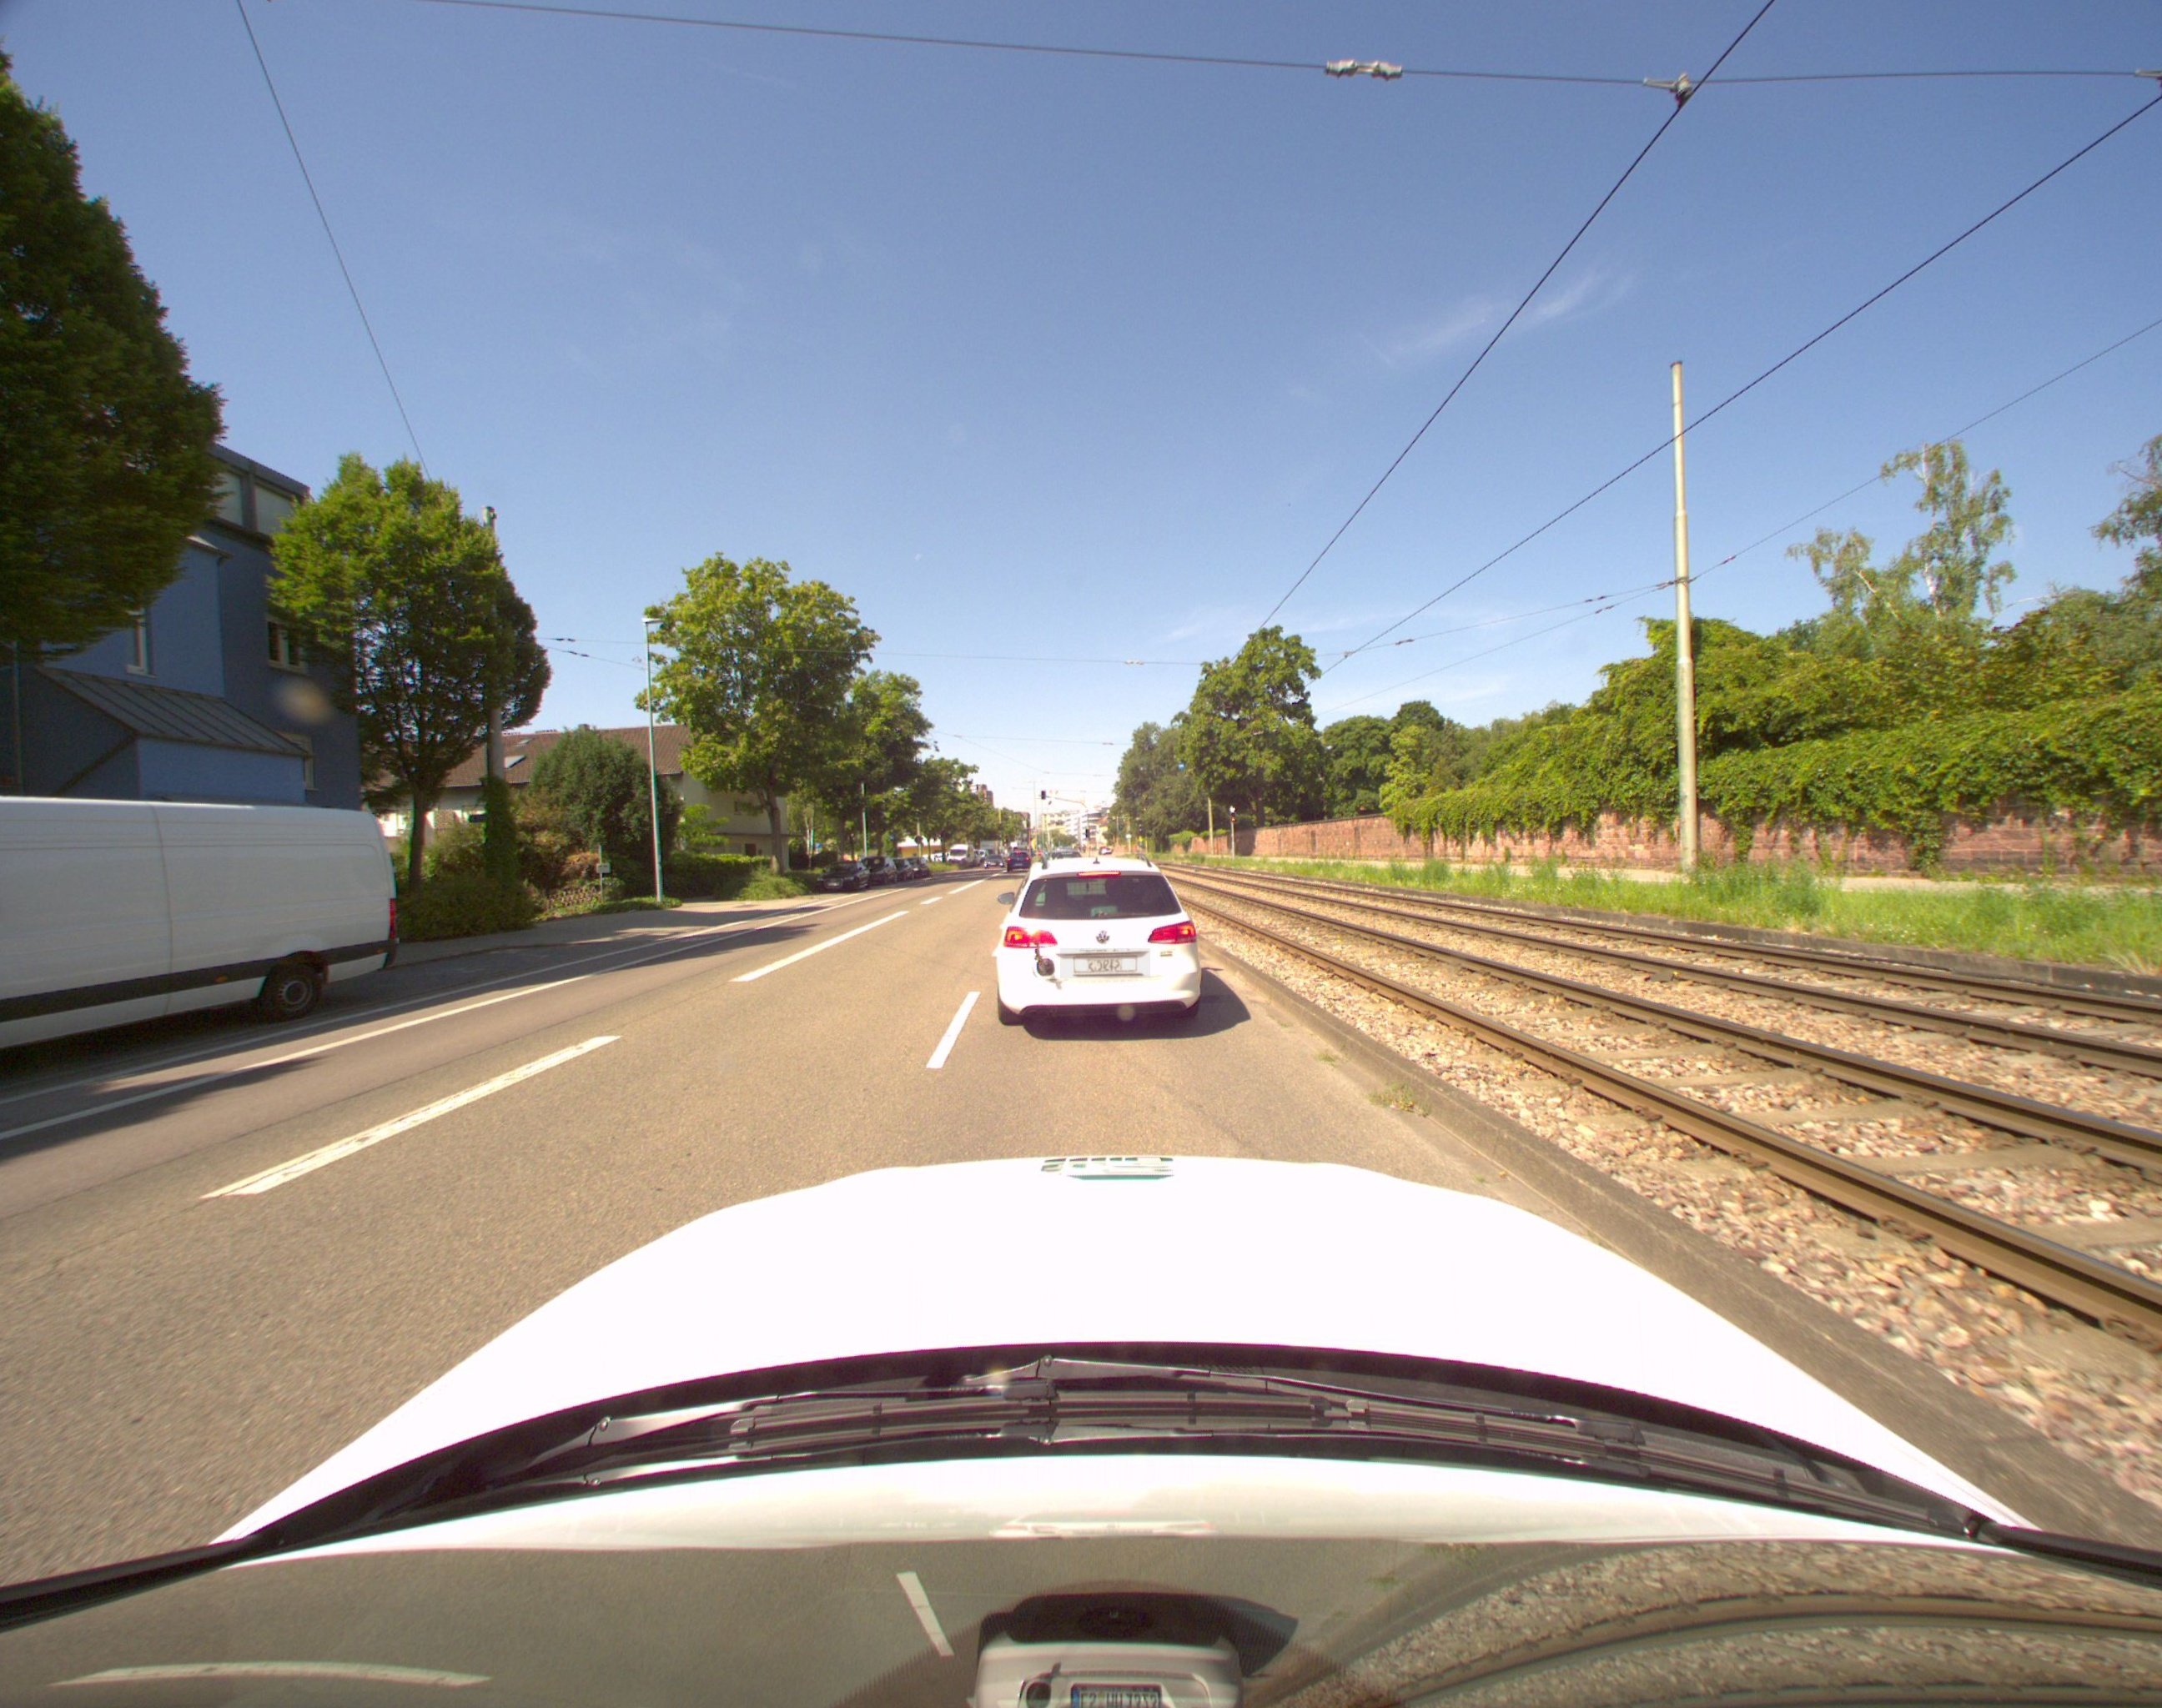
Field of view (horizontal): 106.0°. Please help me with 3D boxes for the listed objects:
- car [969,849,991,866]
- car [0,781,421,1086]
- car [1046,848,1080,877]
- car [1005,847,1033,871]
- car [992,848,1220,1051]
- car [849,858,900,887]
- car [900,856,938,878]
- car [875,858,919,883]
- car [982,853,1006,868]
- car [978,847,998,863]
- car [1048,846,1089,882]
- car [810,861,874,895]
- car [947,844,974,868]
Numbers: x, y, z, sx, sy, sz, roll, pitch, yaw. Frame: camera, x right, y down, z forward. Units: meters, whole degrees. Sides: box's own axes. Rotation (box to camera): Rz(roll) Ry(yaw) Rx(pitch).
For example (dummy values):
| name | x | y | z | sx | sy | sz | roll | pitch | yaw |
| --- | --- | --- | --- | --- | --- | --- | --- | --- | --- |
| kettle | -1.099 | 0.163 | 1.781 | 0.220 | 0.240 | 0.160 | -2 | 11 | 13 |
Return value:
| name | x | y | z | sx | sy | sz | roll | pitch | yaw |
| --- | --- | --- | --- | --- | --- | --- | --- | --- | --- |
| car | -12.214 | 0.393 | 98.844 | 1.819 | 1.867 | 4.726 | -3 | 0 | 2 |
| car | -10.617 | 0.697 | 8.309 | 1.988 | 2.714 | 7.154 | 0 | 0 | -1 |
| car | -1.035 | 0.431 | 45.464 | 1.796 | 1.460 | 3.997 | -2 | 1 | -2 |
| car | -4.415 | 0.340 | 58.481 | 1.796 | 1.507 | 3.997 | -2 | 1 | -2 |
| car | 0.086 | 0.709 | 8.438 | 1.687 | 1.451 | 4.454 | -2 | 1 | -3 |
| car | -11.672 | 1.009 | 46.340 | 1.693 | 1.481 | 4.002 | -3 | 0 | 2 |
| car | -11.318 | 0.868 | 57.067 | 1.693 | 1.352 | 4.002 | -3 | 0 | 2 |
| car | -11.638 | 1.020 | 51.752 | 1.693 | 1.352 | 4.002 | -3 | 0 | 2 |
| car | -7.961 | 0.596 | 75.064 | 1.694 | 1.272 | 4.000 | -3 | 0 | 0 |
| car | -12.140 | 0.096 | 106.510 | 1.819 | 1.867 | 4.726 | -3 | 0 | 2 |
| car | -0.631 | 0.435 | 38.236 | 1.796 | 1.507 | 3.997 | -2 | 1 | -2 |
| car | -11.328 | 1.097 | 38.865 | 1.693 | 1.417 | 4.002 | -3 | 0 | 2 |
| car | -12.675 | 0.193 | 85.963 | 1.873 | 2.415 | 5.118 | -3 | 0 | 2 |
